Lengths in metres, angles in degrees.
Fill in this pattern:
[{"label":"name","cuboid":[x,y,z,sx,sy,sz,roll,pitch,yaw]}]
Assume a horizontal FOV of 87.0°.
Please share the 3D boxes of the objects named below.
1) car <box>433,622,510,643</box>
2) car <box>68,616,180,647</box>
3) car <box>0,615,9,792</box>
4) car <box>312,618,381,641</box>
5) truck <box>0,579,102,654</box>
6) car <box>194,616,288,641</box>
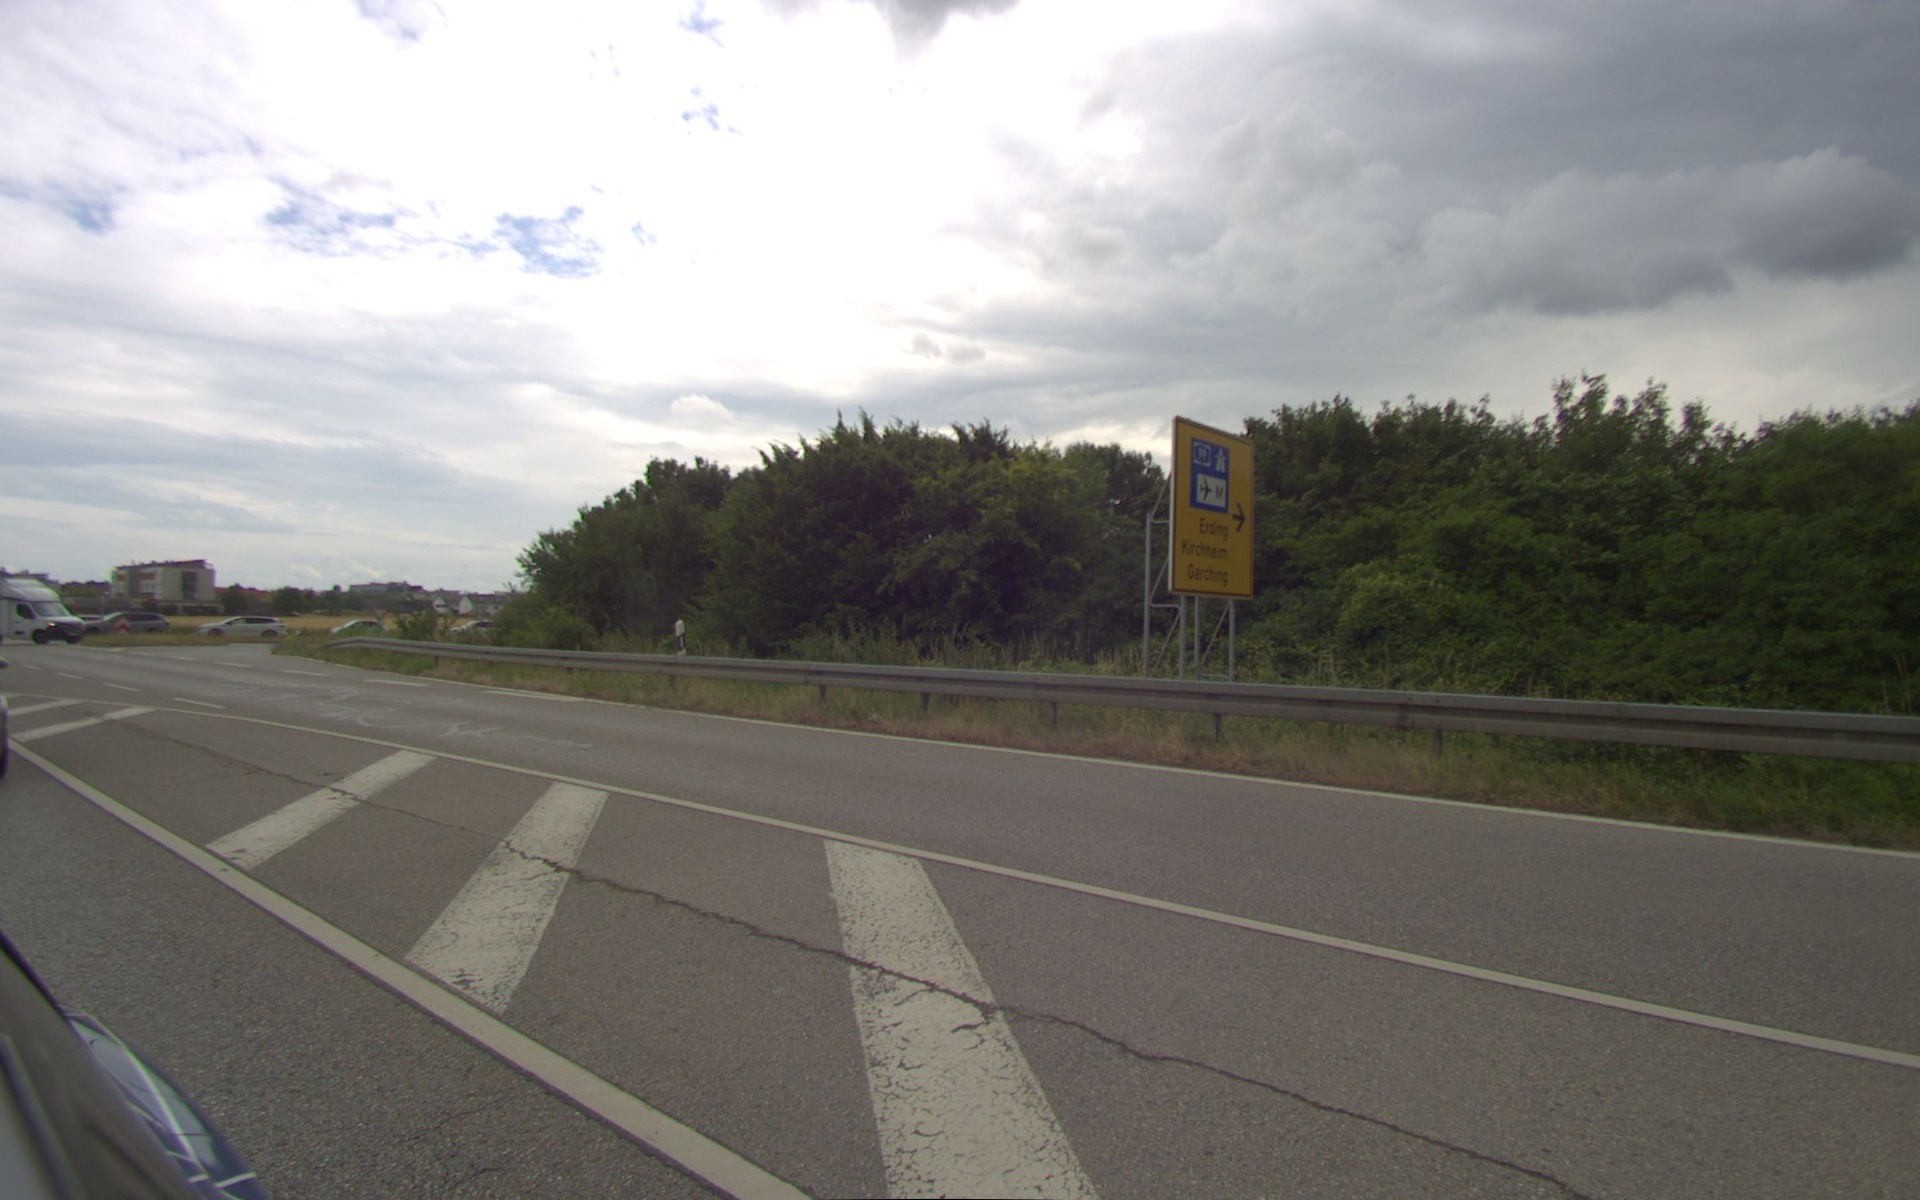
[{"label":"car","cuboid":[-35.109,2.324,72.823,4.607,1.510,2.002,1,-2,-42]},{"label":"car","cuboid":[-48.954,1.818,59.347,1.996,1.702,4.758,-1,-2,36]},{"label":"car","cuboid":[-10.009,0.874,9.082,4.201,1.455,1.708,-1,-1,41]},{"label":"car","cuboid":[-40.858,1.931,67.405,3.662,1.510,1.732,1,-2,-42]},{"label":"truck","cuboid":[-47.940,0.828,50.773,7.505,3.589,2.930,-1,0,3]},{"label":"car","cuboid":[-45.144,1.787,63.568,4.607,1.510,2.002,1,-2,-42]}]
